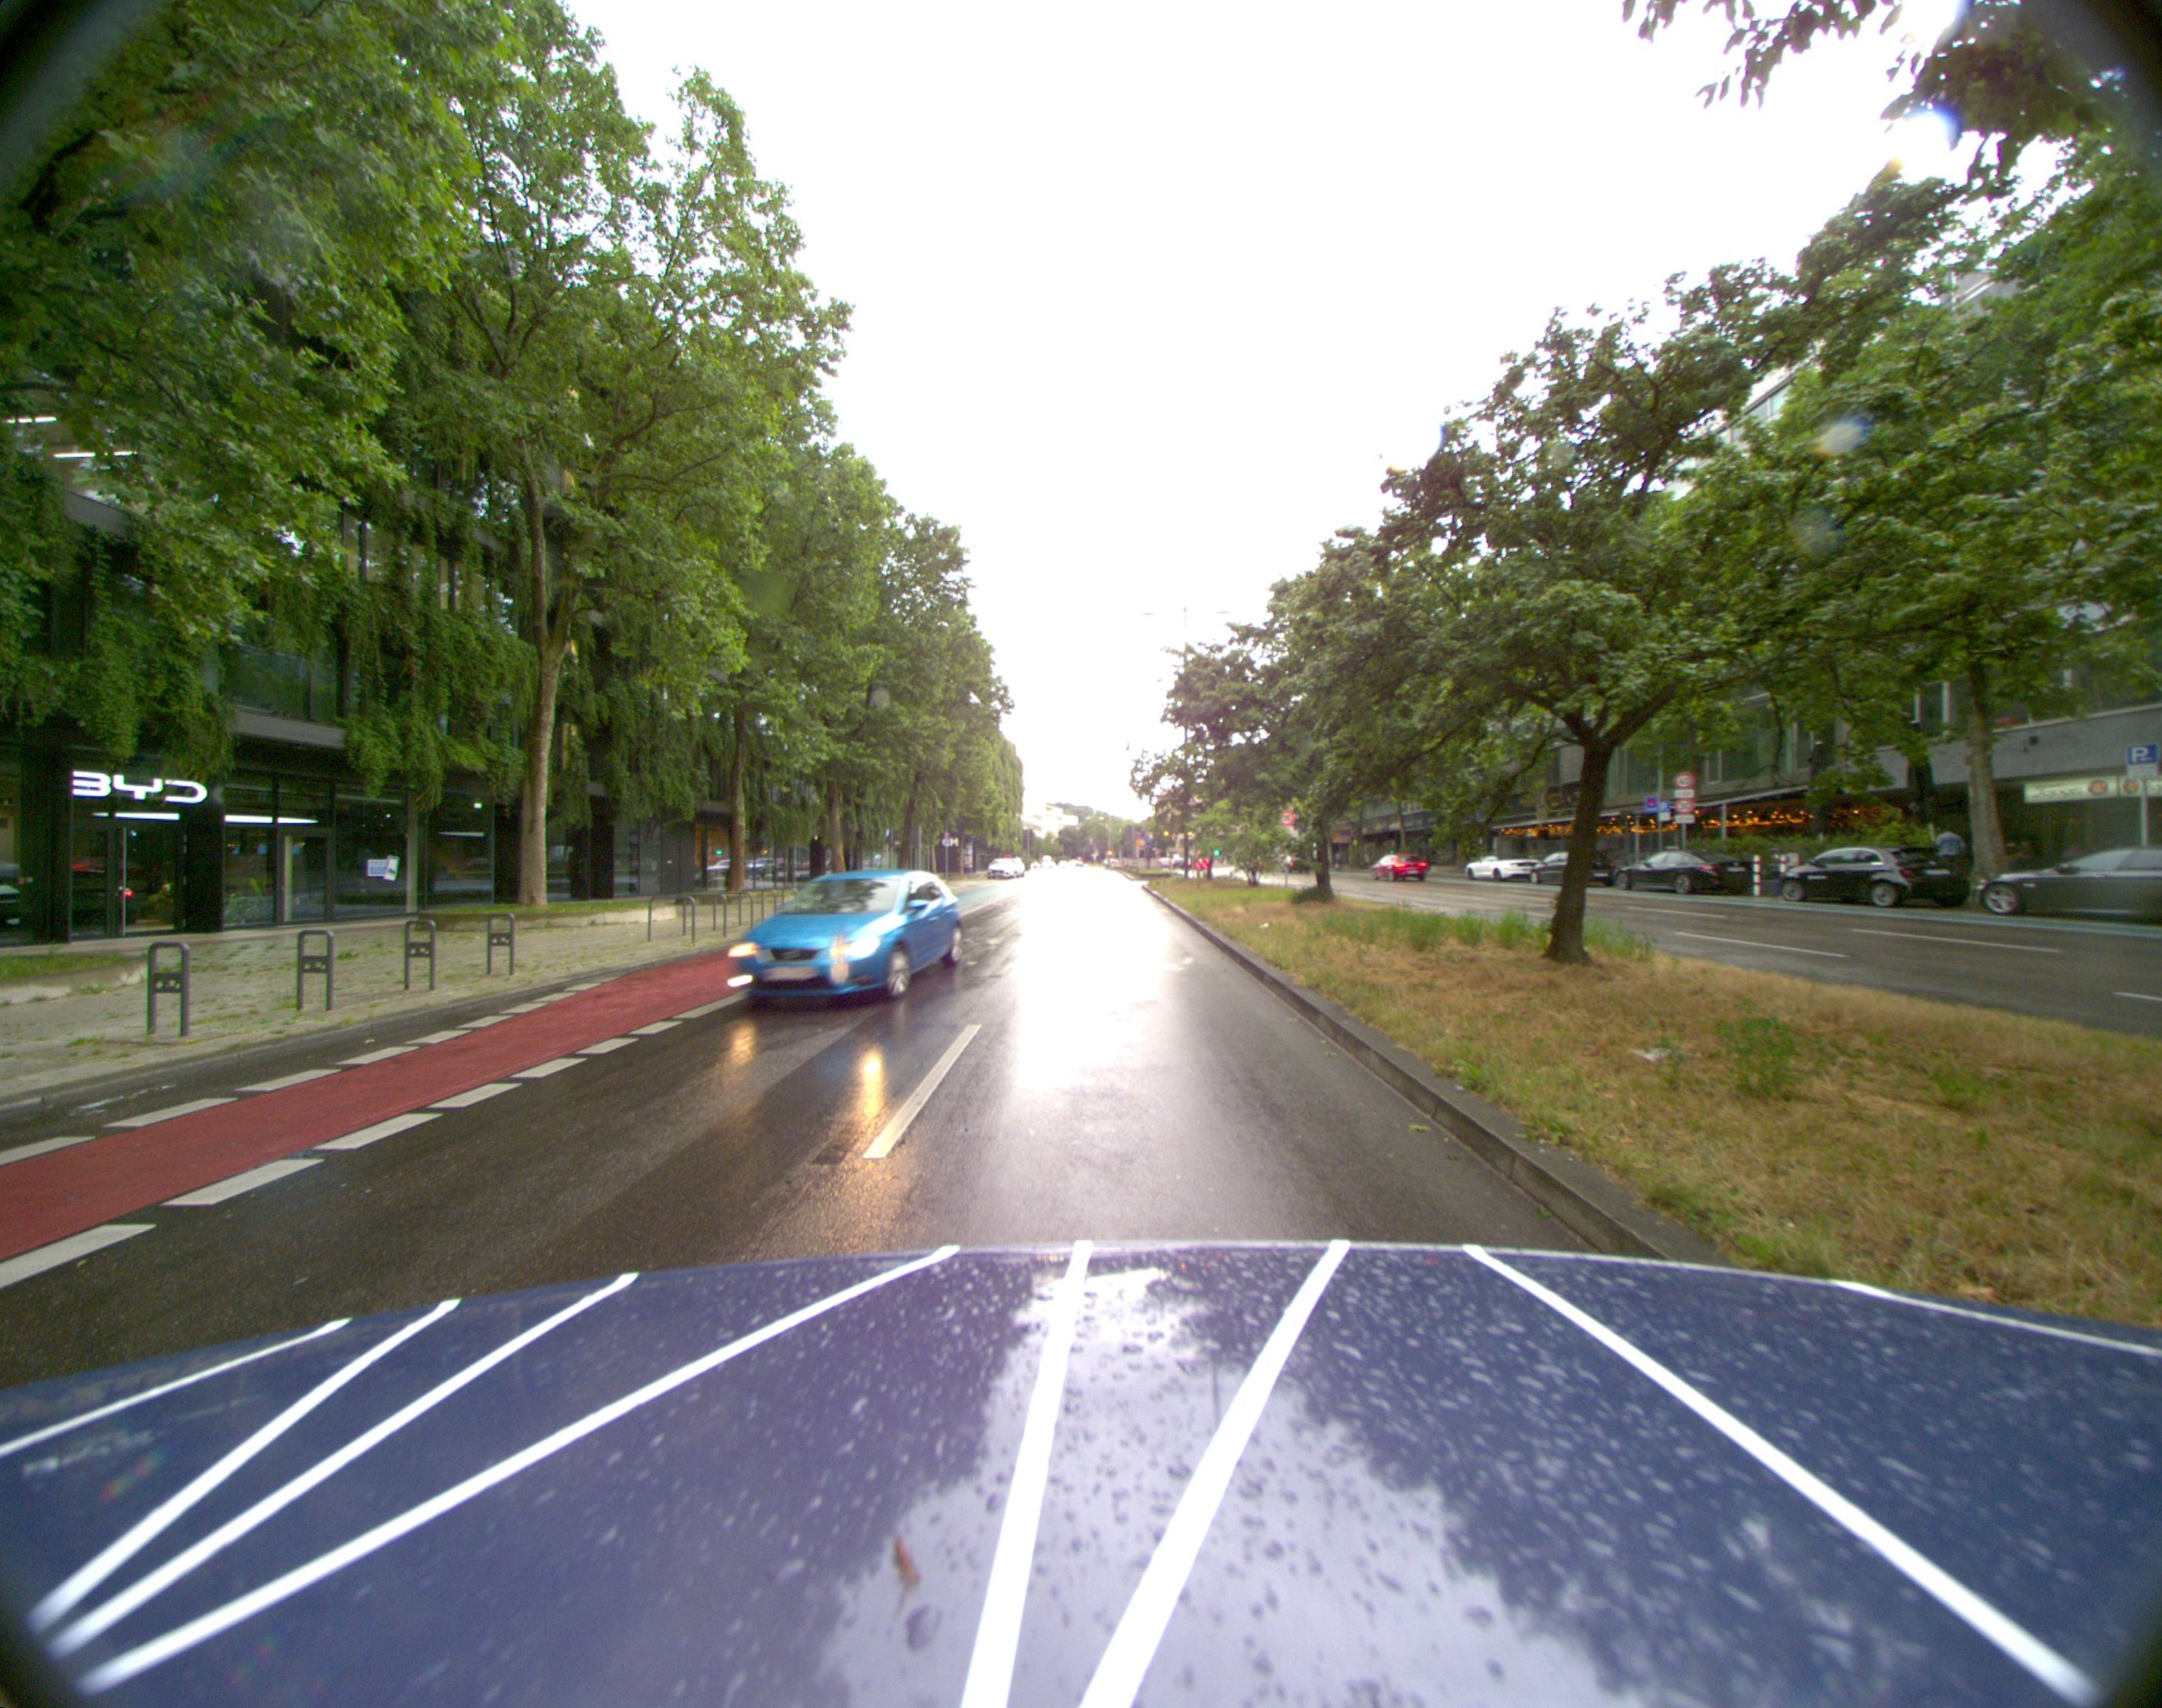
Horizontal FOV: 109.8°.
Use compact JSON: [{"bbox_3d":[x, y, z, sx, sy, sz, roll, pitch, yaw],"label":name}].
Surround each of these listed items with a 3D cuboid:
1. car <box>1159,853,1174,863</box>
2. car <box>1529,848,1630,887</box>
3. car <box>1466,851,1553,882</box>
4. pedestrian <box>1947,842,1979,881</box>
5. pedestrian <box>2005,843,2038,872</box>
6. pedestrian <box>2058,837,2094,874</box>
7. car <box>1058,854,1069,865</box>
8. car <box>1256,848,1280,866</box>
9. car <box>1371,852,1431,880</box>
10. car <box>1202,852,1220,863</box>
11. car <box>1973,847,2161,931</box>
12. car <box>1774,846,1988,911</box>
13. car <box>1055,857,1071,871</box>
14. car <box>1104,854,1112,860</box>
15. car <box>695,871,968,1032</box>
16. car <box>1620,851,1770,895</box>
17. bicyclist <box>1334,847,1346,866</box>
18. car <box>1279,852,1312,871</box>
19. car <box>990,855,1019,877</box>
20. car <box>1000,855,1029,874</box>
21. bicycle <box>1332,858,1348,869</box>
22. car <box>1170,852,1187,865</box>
[{"bbox_3d":[12.485,0.601,111.037,1.678,1.381,3.527,-2,1,-2],"label":"car"},{"bbox_3d":[20.531,0.517,31.471,1.750,1.445,3.788,-2,1,2],"label":"car"},{"bbox_3d":[20.749,0.574,37.024,1.881,1.318,4.392,-2,1,2],"label":"car"},{"bbox_3d":[27.616,0.226,23.795,0.466,1.179,0.446,-2,1,10],"label":"pedestrian"},{"bbox_3d":[27.939,0.098,22.565,0.440,0.845,0.433,-2,1,-1],"label":"pedestrian"},{"bbox_3d":[27.751,0.045,21.199,0.464,1.010,0.424,-2,1,-1],"label":"pedestrian"},{"bbox_3d":[-2.711,0.877,120.288,1.556,1.534,3.663,-2,1,1],"label":"car"},{"bbox_3d":[19.460,0.329,79.249,1.752,1.716,3.859,-2,1,4],"label":"car"},{"bbox_3d":[17.314,0.636,41.248,1.765,1.318,3.738,-2,1,2],"label":"car"},{"bbox_3d":[17.489,0.488,102.658,1.678,1.381,3.527,-2,1,-2],"label":"car"},{"bbox_3d":[19.880,0.612,13.954,1.875,1.377,4.537,-2,1,5],"label":"car"},{"bbox_3d":[20.043,0.542,19.266,1.875,1.414,3.400,-2,1,2],"label":"car"},{"bbox_3d":[-2.196,1.212,95.396,1.780,1.546,3.929,-2,1,1],"label":"car"},{"bbox_3d":[7.795,0.854,220.382,1.998,1.838,4.000,-2,1,4],"label":"car"},{"bbox_3d":[-2.784,1.014,9.551,1.799,1.428,4.063,-1,1,4],"label":"car"},{"bbox_3d":[20.243,0.577,25.313,1.647,1.232,4.319,-2,1,3],"label":"car"},{"bbox_3d":[21.384,0.220,62.750,0.715,1.561,0.609,-2,1,4],"label":"bicyclist"},{"bbox_3d":[18.070,0.624,64.199,1.868,1.408,4.105,-2,1,4],"label":"car"},{"bbox_3d":[-6.441,0.983,64.299,1.932,1.726,4.598,-2,1,0],"label":"car"},{"bbox_3d":[-6.089,0.949,70.371,2.036,1.553,4.585,-2,1,2],"label":"car"},{"bbox_3d":[21.405,0.773,62.786,0.715,0.838,2.231,-2,1,4],"label":"bicycle"},{"bbox_3d":[12.774,0.598,99.727,1.881,1.567,3.820,-2,1,3],"label":"car"}]
